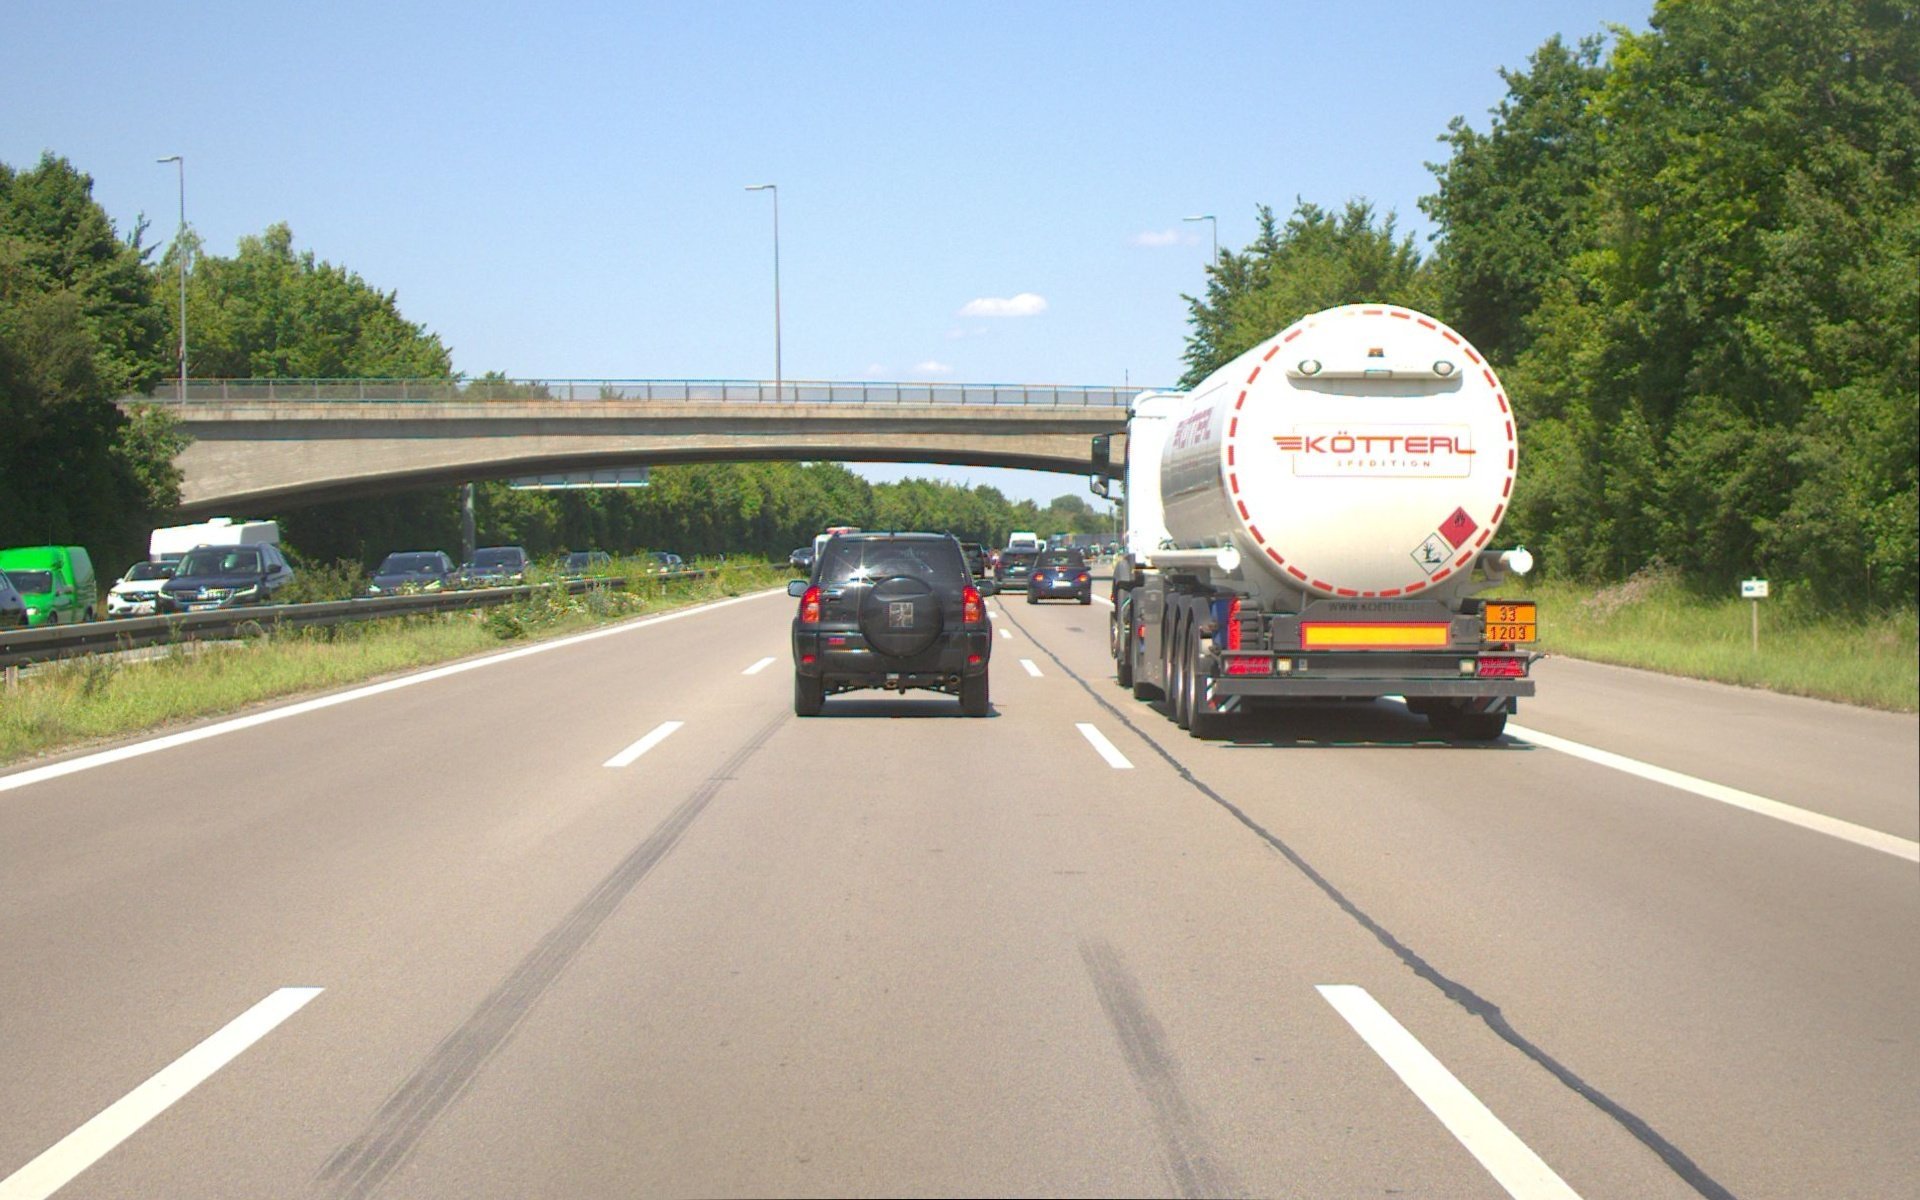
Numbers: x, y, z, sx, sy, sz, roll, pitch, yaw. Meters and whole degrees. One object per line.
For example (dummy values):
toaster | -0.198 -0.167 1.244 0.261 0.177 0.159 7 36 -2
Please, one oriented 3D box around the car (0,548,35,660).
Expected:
car | -12.718 0.066 42.116 1.716 1.385 4.000 -1 1 -1

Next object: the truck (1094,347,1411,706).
truck | 2.883 -0.741 35.653 2.638 3.363 6.488 1 1 -1

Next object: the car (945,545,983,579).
car | 0.198 -2.003 181.637 1.993 1.744 4.205 -1 1 0

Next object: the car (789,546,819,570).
car | -11.056 -2.986 243.902 1.797 1.661 4.128 -1 1 1

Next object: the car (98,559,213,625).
car | -20.652 -0.226 88.471 1.846 1.601 4.810 0 1 0

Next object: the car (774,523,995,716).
car | -0.704 0.145 31.892 1.906 1.659 4.000 0 1 -1

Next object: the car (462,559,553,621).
car | -12.305 -0.301 93.726 1.915 1.596 4.435 -1 1 0

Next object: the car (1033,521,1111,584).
car | 3.131 -1.322 96.804 1.993 1.678 4.000 0 0 -1

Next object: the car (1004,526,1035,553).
car | 3.861 -3.955 223.691 1.812 1.740 4.000 -1 1 -2

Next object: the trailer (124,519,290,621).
trailer | -20.744 -0.867 95.182 2.731 2.678 8.631 0 1 0

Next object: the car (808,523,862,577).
car | -4.795 -1.899 131.617 1.993 2.007 4.950 -1 1 -2

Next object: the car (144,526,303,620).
car | -12.774 -0.447 59.835 1.849 1.568 4.422 0 0 -1

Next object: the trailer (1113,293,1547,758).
trailer | 2.952 -0.624 30.702 2.648 3.378 11.152 0 1 0

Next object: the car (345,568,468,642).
car | -12.734 0.088 79.338 1.993 1.599 5.090 0 1 0

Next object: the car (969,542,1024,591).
car | 1.238 -1.127 116.562 1.842 1.606 4.000 0 0 1

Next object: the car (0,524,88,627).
car | -17.275 -0.467 62.476 1.814 1.802 4.382 -1 1 -1

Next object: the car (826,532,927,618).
car | -1.784 -0.526 72.057 1.993 1.700 4.336 -1 1 -3
